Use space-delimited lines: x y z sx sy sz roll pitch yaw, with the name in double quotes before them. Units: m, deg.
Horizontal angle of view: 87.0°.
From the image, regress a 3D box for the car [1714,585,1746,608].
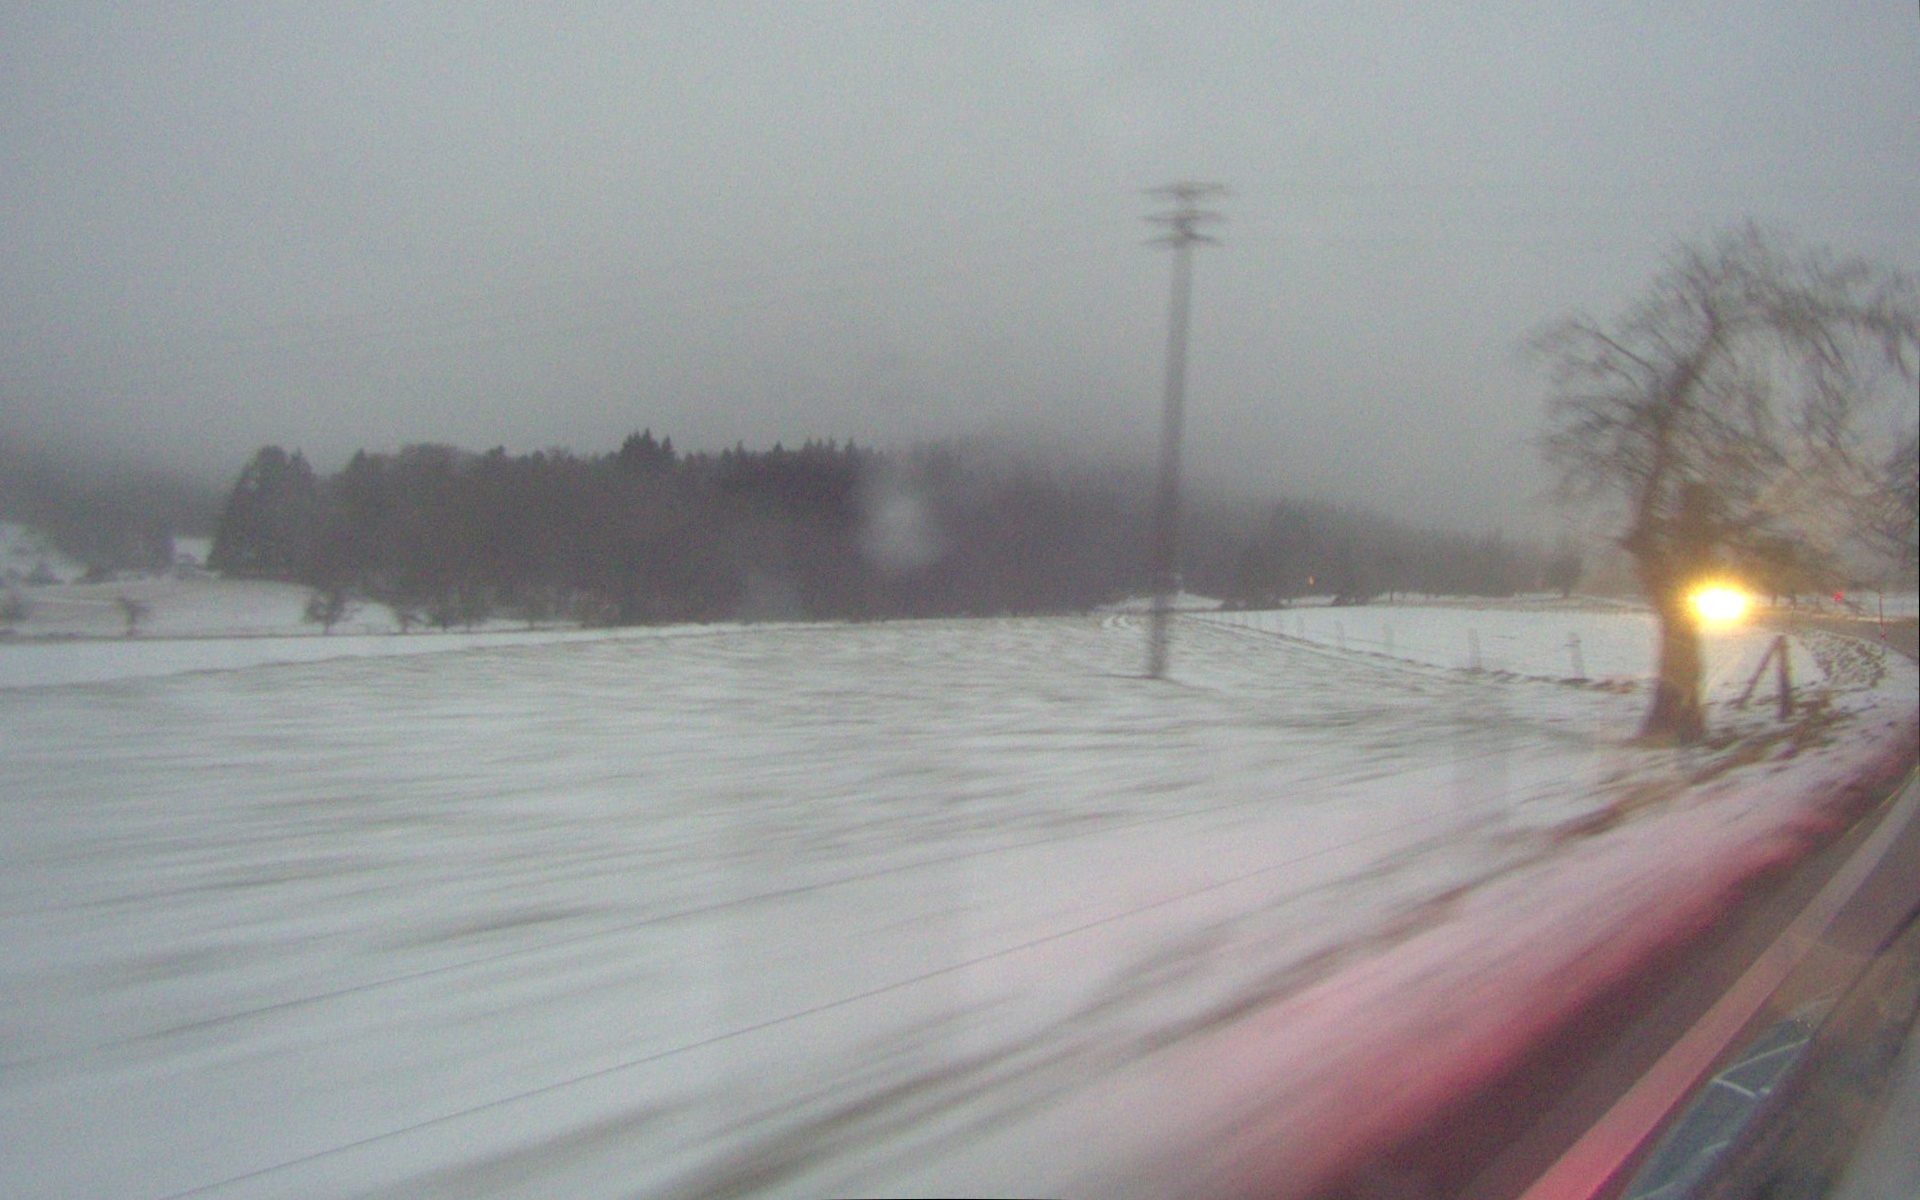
"car" 73.851 -0.361 97.097 1.985 2.039 3.955 -2 1 32
